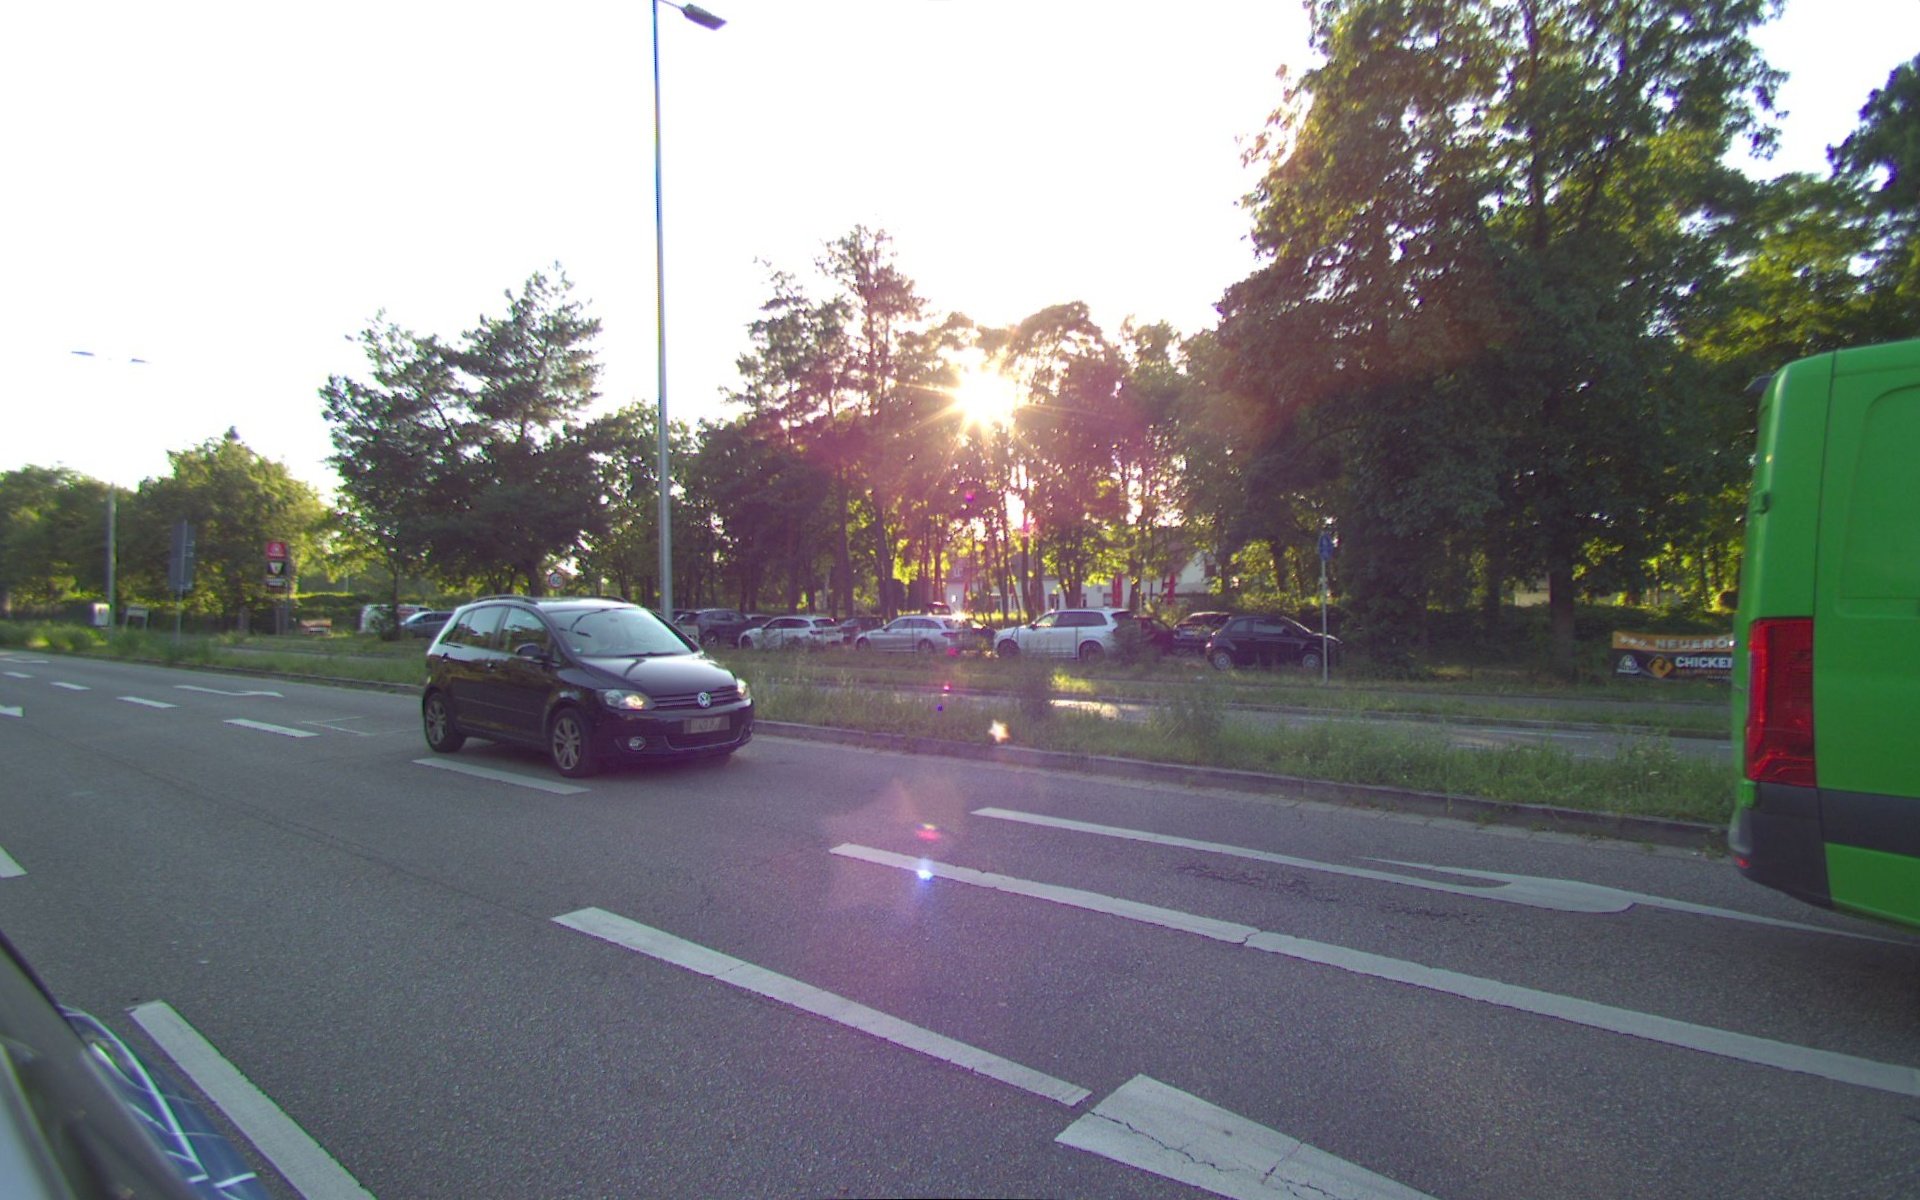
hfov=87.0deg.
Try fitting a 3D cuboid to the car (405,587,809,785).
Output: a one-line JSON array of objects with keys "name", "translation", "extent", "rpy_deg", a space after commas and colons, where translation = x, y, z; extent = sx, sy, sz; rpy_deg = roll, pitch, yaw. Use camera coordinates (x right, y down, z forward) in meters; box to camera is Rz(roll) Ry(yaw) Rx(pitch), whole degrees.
[{"name": "car", "translation": [-3.586, 0.720, 10.020], "extent": [3.995, 1.564, 1.974], "rpy_deg": [-1, -2, 39]}]

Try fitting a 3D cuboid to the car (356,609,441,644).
[{"name": "car", "translation": [-32.517, 1.512, 58.682], "extent": [1.764, 1.959, 3.949], "rpy_deg": [-1, -2, 38]}]

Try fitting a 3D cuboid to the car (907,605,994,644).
[{"name": "car", "translation": [-0.371, 1.099, 45.114], "extent": [1.765, 1.663, 3.947], "rpy_deg": [-1, -2, 39]}]

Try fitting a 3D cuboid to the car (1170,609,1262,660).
[{"name": "car", "translation": [9.014, 1.170, 35.444], "extent": [1.914, 1.663, 3.954], "rpy_deg": [-1, -1, 34]}]

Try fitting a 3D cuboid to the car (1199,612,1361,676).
[{"name": "car", "translation": [8.585, 1.143, 27.250], "extent": [3.807, 1.609, 1.838], "rpy_deg": [-1, -2, 36]}]

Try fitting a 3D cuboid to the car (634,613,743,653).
[{"name": "car", "translation": [-11.812, 1.419, 44.306], "extent": [1.769, 1.629, 4.470], "rpy_deg": [-1, -2, 37]}]

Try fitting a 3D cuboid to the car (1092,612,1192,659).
[{"name": "car", "translation": [6.836, 1.307, 37.847], "extent": [1.918, 1.663, 3.944], "rpy_deg": [-1, -2, 42]}]

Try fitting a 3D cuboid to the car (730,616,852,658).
[{"name": "car", "translation": [-6.591, 1.411, 39.297], "extent": [4.702, 1.560, 1.975], "rpy_deg": [-1, -2, 37]}]

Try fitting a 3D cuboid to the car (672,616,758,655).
[{"name": "car", "translation": [-10.024, 1.440, 41.566], "extent": [1.657, 1.538, 3.060], "rpy_deg": [-1, -2, 38]}]

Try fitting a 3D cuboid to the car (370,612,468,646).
[{"name": "car", "translation": [-30.233, 1.601, 56.673], "extent": [1.907, 1.811, 4.443], "rpy_deg": [-1, -2, 38]}]

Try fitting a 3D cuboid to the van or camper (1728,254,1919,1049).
[{"name": "van or camper", "translation": [5.480, 0.133, 2.265], "extent": [5.891, 2.439, 1.973], "rpy_deg": [-1, -2, 40]}]

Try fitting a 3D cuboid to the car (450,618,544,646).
[{"name": "car", "translation": [-23.096, 1.577, 50.586], "extent": [1.731, 1.322, 3.947], "rpy_deg": [-1, -2, 39]}]

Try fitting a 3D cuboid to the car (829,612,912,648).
[{"name": "car", "translation": [-4.306, 1.446, 49.049], "extent": [1.765, 1.663, 3.947], "rpy_deg": [-1, -2, 39]}]

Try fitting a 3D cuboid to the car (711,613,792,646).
[{"name": "car", "translation": [-10.887, 1.516, 52.951], "extent": [1.765, 1.663, 3.947], "rpy_deg": [-1, -2, 40]}]

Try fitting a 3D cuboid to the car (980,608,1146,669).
[{"name": "car", "translation": [3.186, 1.173, 31.806], "extent": [4.913, 1.800, 1.975], "rpy_deg": [-1, -2, 37]}]

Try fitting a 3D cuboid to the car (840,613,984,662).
[{"name": "car", "translation": [-1.733, 1.282, 35.593], "extent": [4.913, 1.619, 1.975], "rpy_deg": [-1, -2, 37]}]

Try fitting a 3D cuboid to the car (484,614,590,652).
[{"name": "car", "translation": [-20.789, 1.617, 49.848], "extent": [1.908, 1.767, 4.441], "rpy_deg": [-1, -2, 39]}]
